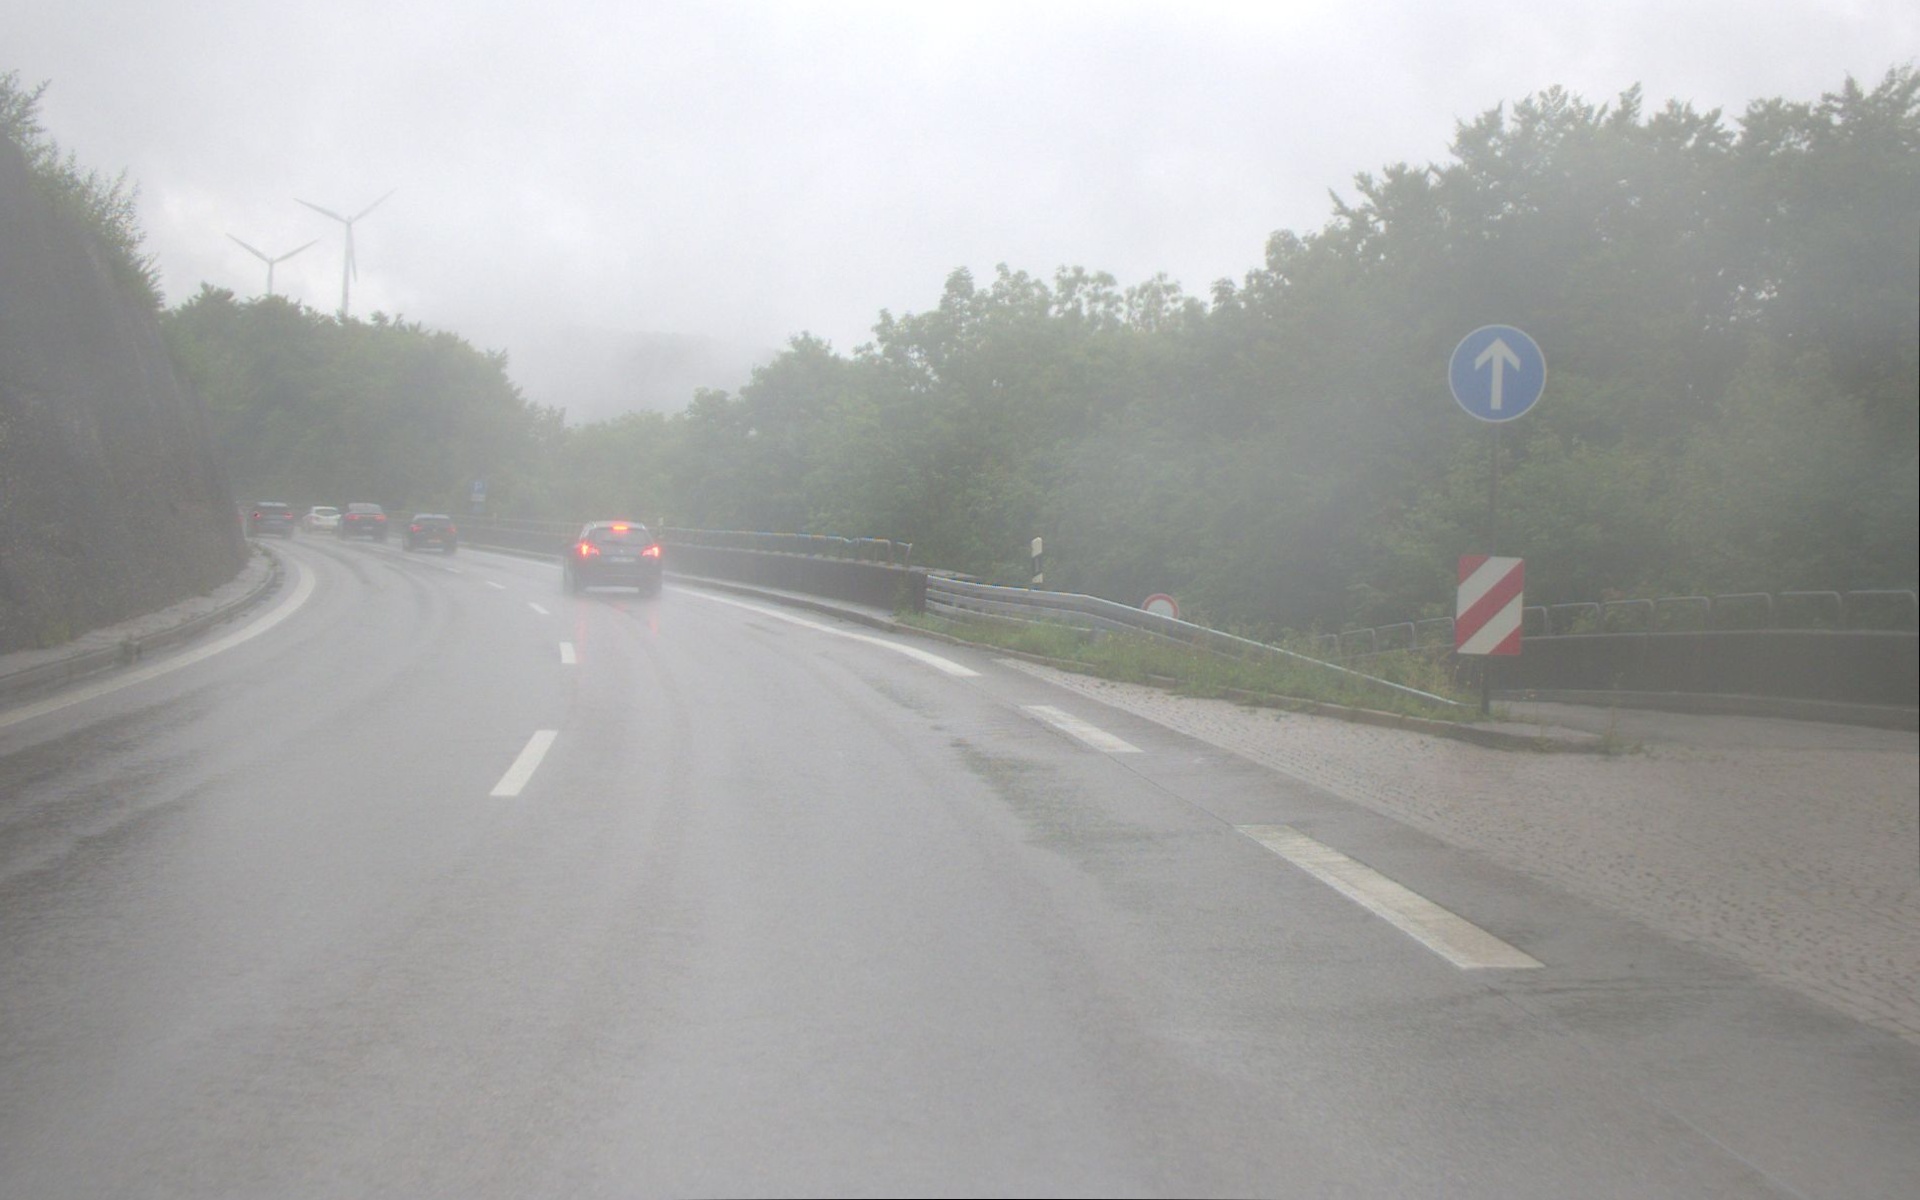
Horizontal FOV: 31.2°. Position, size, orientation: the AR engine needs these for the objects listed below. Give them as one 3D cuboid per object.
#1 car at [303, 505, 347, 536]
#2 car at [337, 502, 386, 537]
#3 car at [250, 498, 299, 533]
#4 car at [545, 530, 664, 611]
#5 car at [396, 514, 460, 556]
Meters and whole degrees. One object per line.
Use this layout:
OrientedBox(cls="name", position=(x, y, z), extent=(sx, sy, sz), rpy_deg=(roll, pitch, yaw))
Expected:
OrientedBox(cls="car", position=(-33.124, -4.152, 179.240), extent=(1.903, 1.494, 4.001), rpy_deg=(2, 1, -15))
OrientedBox(cls="car", position=(-27.559, -3.704, 158.217), extent=(1.903, 1.494, 4.001), rpy_deg=(2, 1, -14))
OrientedBox(cls="car", position=(-30.916, -3.800, 155.001), extent=(1.903, 1.494, 4.001), rpy_deg=(2, 1, -14))
OrientedBox(cls="car", position=(-7.272, -0.623, 70.079), extent=(1.903, 1.494, 4.001), rpy_deg=(2, 1, -13))
OrientedBox(cls="car", position=(-20.106, -2.459, 129.740), extent=(1.903, 1.494, 4.001), rpy_deg=(2, 1, -15))
